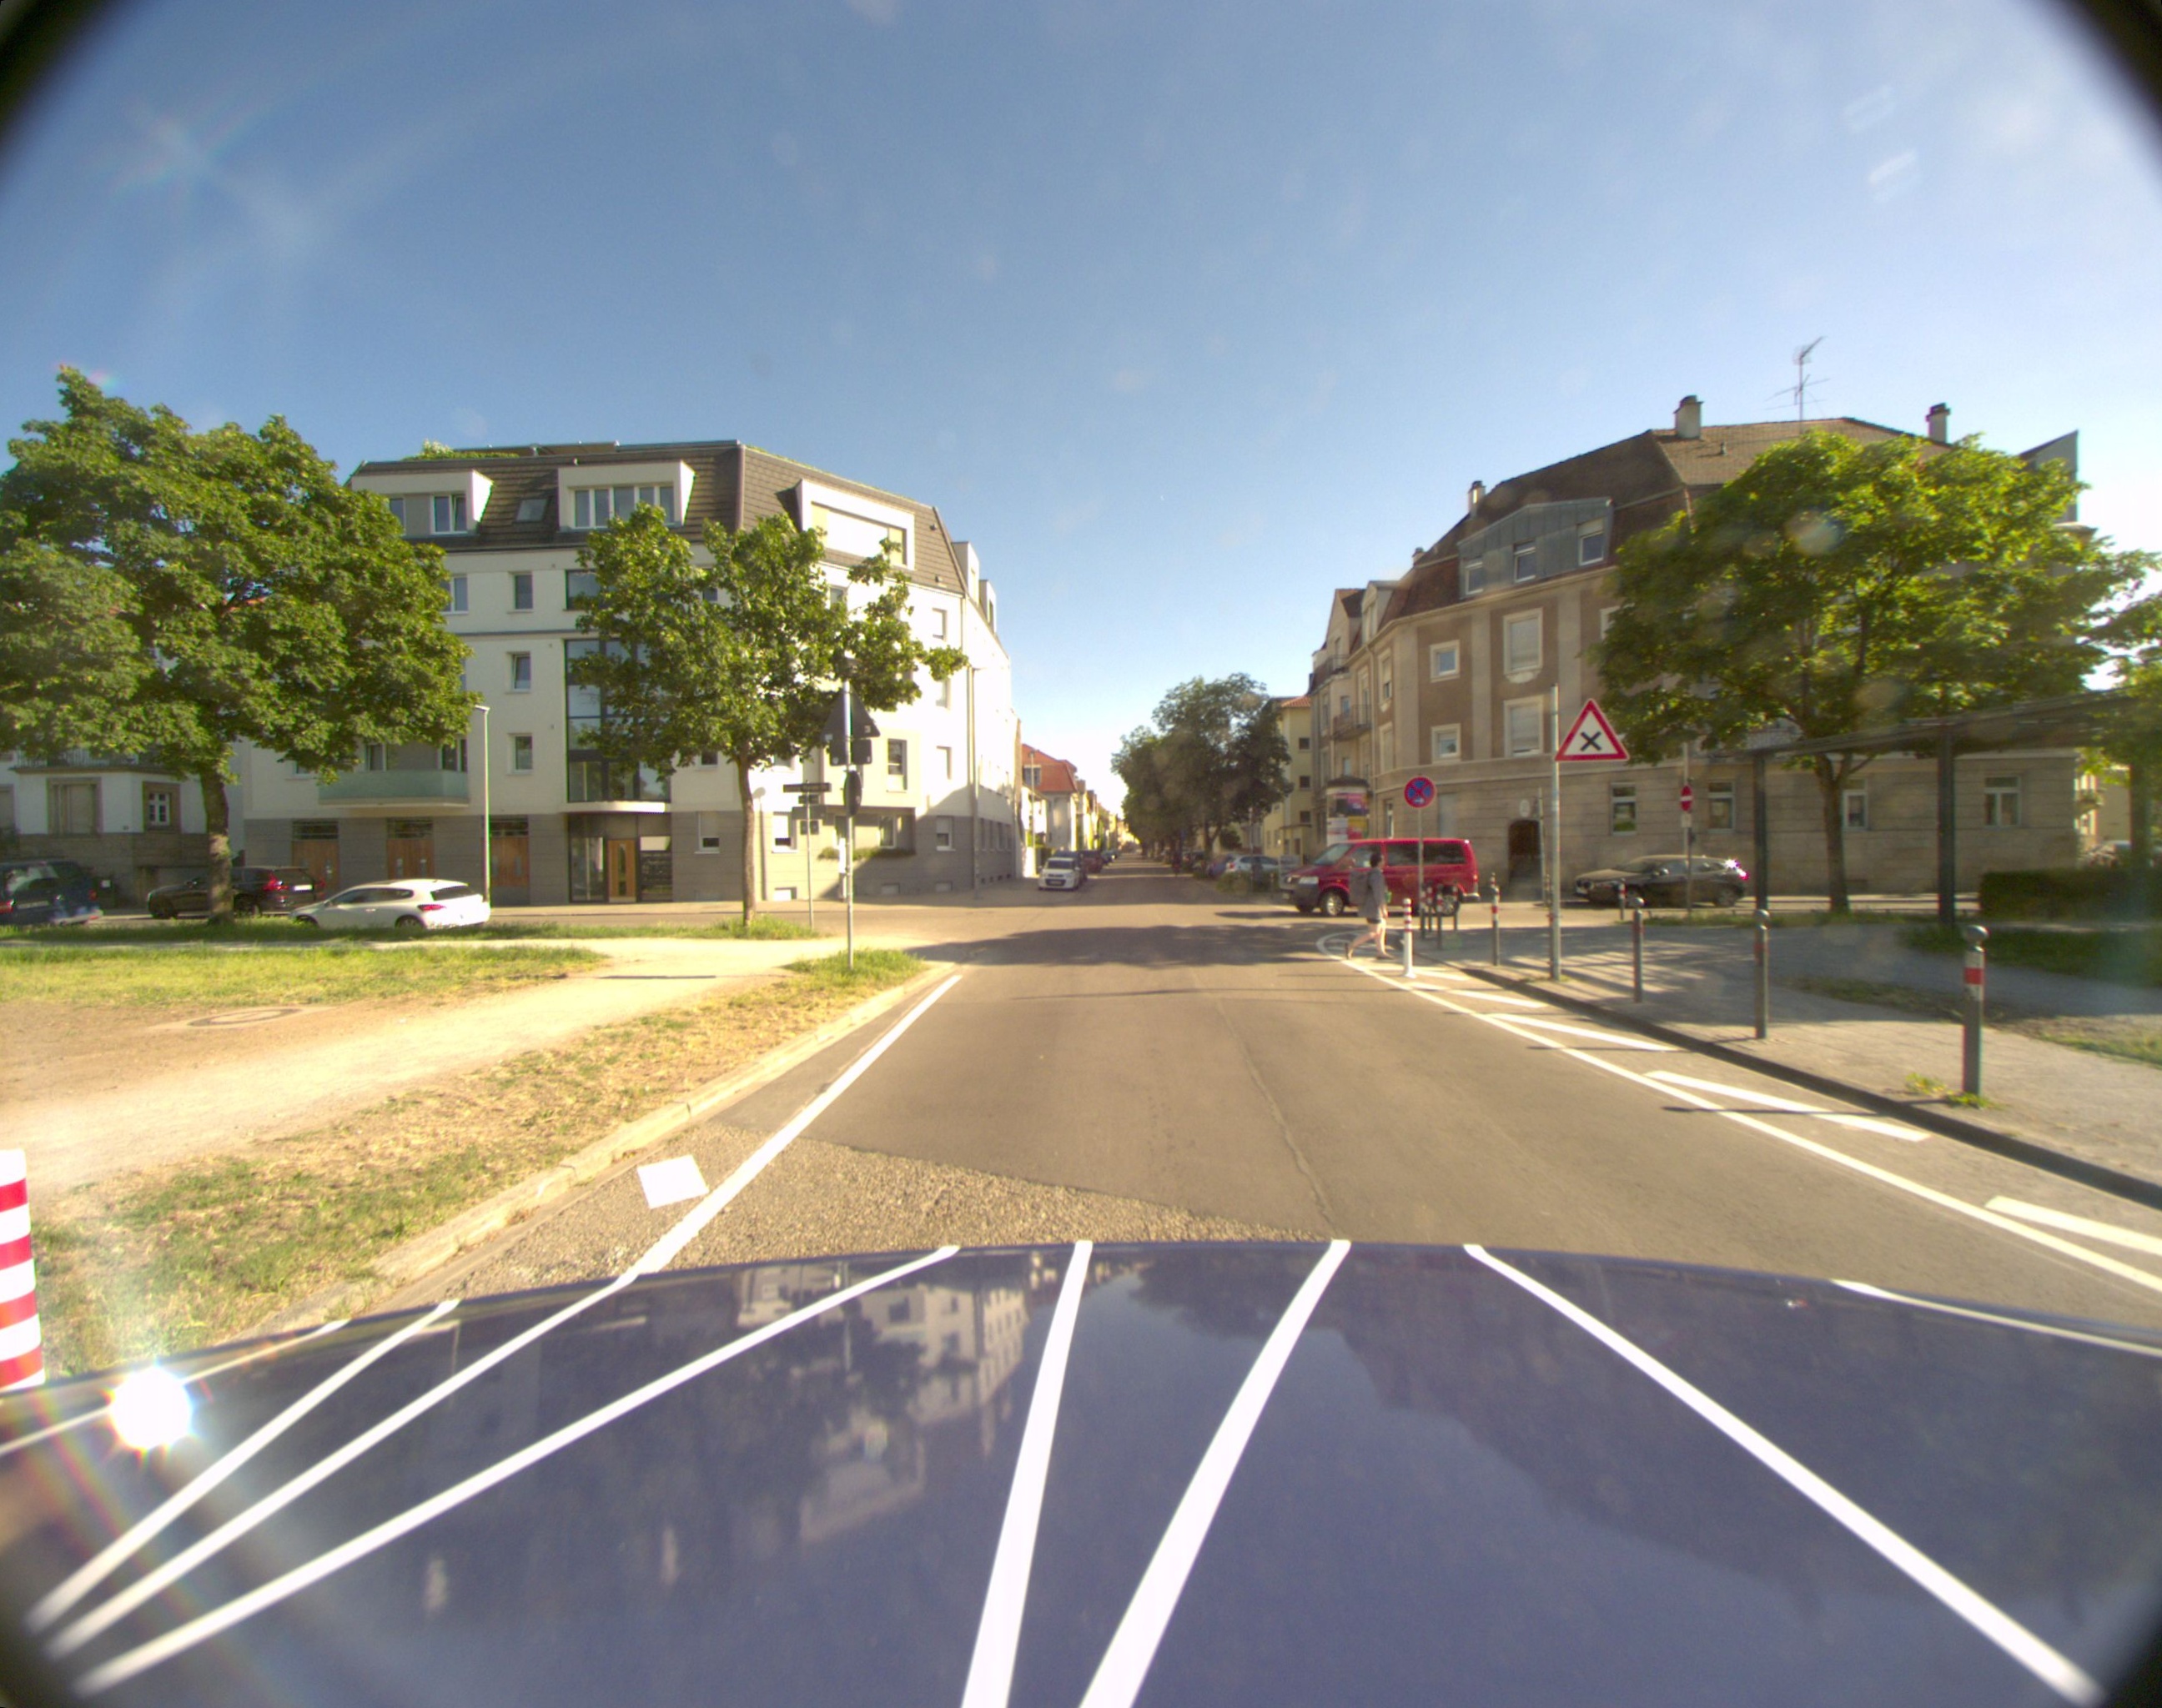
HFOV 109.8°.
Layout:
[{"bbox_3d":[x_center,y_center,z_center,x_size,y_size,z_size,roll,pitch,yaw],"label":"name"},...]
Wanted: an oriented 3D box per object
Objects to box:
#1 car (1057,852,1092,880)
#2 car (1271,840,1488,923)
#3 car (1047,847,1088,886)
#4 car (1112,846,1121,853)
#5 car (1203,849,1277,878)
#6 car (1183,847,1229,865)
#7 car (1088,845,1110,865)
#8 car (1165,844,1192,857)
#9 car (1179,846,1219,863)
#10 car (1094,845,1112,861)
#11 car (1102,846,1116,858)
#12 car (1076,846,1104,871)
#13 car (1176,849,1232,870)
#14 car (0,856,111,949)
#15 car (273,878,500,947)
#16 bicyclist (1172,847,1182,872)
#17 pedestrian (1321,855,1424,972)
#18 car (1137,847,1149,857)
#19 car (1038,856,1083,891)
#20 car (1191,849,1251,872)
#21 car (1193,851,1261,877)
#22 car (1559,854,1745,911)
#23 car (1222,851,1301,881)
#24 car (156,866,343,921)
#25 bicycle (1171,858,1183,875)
[{"bbox_3d":[-0.355,0.663,44.953,1.664,1.533,4.067,2,1,4],"label":"car"},{"bbox_3d":[7.614,0.647,19.685,4.884,1.950,1.895,-1,2,-4],"label":"car"},{"bbox_3d":[-0.653,0.595,39.554,1.664,1.825,4.257,2,1,4],"label":"car"},{"bbox_3d":[7.850,-1.048,167.565,1.883,1.427,4.348,-1,0,4],"label":"car"},{"bbox_3d":[8.900,0.544,42.698,3.788,1.486,1.692,-2,1,1],"label":"car"},{"bbox_3d":[11.277,0.135,68.600,3.789,1.486,1.692,-2,1,-1],"label":"car"},{"bbox_3d":[1.807,0.047,75.353,1.883,1.860,4.402,2,1,4],"label":"car"},{"bbox_3d":[13.508,-0.492,105.291,3.527,1.693,1.692,-2,1,2],"label":"car"},{"bbox_3d":[11.273,0.040,72.917,3.528,1.486,1.692,-2,1,-1],"label":"car"},{"bbox_3d":[2.653,-0.084,90.814,1.883,1.860,4.403,0,0,4],"label":"car"},{"bbox_3d":[4.349,-0.325,117.131,1.883,1.734,4.403,-1,0,4],"label":"car"},{"bbox_3d":[0.742,0.306,61.308,1.883,1.860,4.402,2,1,4],"label":"car"},{"bbox_3d":[9.223,0.395,57.099,3.791,1.486,1.691,-2,1,-9],"label":"car"},{"bbox_3d":[-27.536,1.183,19.132,3.989,2.073,1.783,-1,5,5],"label":"car"},{"bbox_3d":[-16.947,1.409,18.658,3.990,1.426,1.739,-1,5,4],"label":"car"},{"bbox_3d":[6.225,0.339,49.308,0.644,1.610,0.637,-1,1,5],"label":"bicyclist"},{"bbox_3d":[4.383,0.870,11.488,1.091,1.664,0.912,1,0,-13],"label":"pedestrian"},{"bbox_3d":[9.643,-0.324,118.211,1.883,1.591,4.403,-1,0,4],"label":"car"},{"bbox_3d":[-0.887,0.854,35.097,1.664,1.440,3.689,2,1,4],"label":"car"},{"bbox_3d":[9.898,0.458,53.724,3.791,1.486,1.691,-2,1,-9],"label":"car"},{"bbox_3d":[9.138,0.585,47.560,3.791,1.486,1.691,-2,1,-9],"label":"car"},{"bbox_3d":[16.674,0.808,22.367,4.011,1.476,1.867,-1,4,1],"label":"car"},{"bbox_3d":[9.567,0.628,40.470,3.788,1.436,1.692,-2,1,1],"label":"car"},{"bbox_3d":[-27.534,1.281,25.247,4.284,1.673,1.896,-1,2,5],"label":"car"},{"bbox_3d":[6.231,0.801,49.349,0.644,1.102,2.066,-1,1,5],"label":"bicycle"}]
